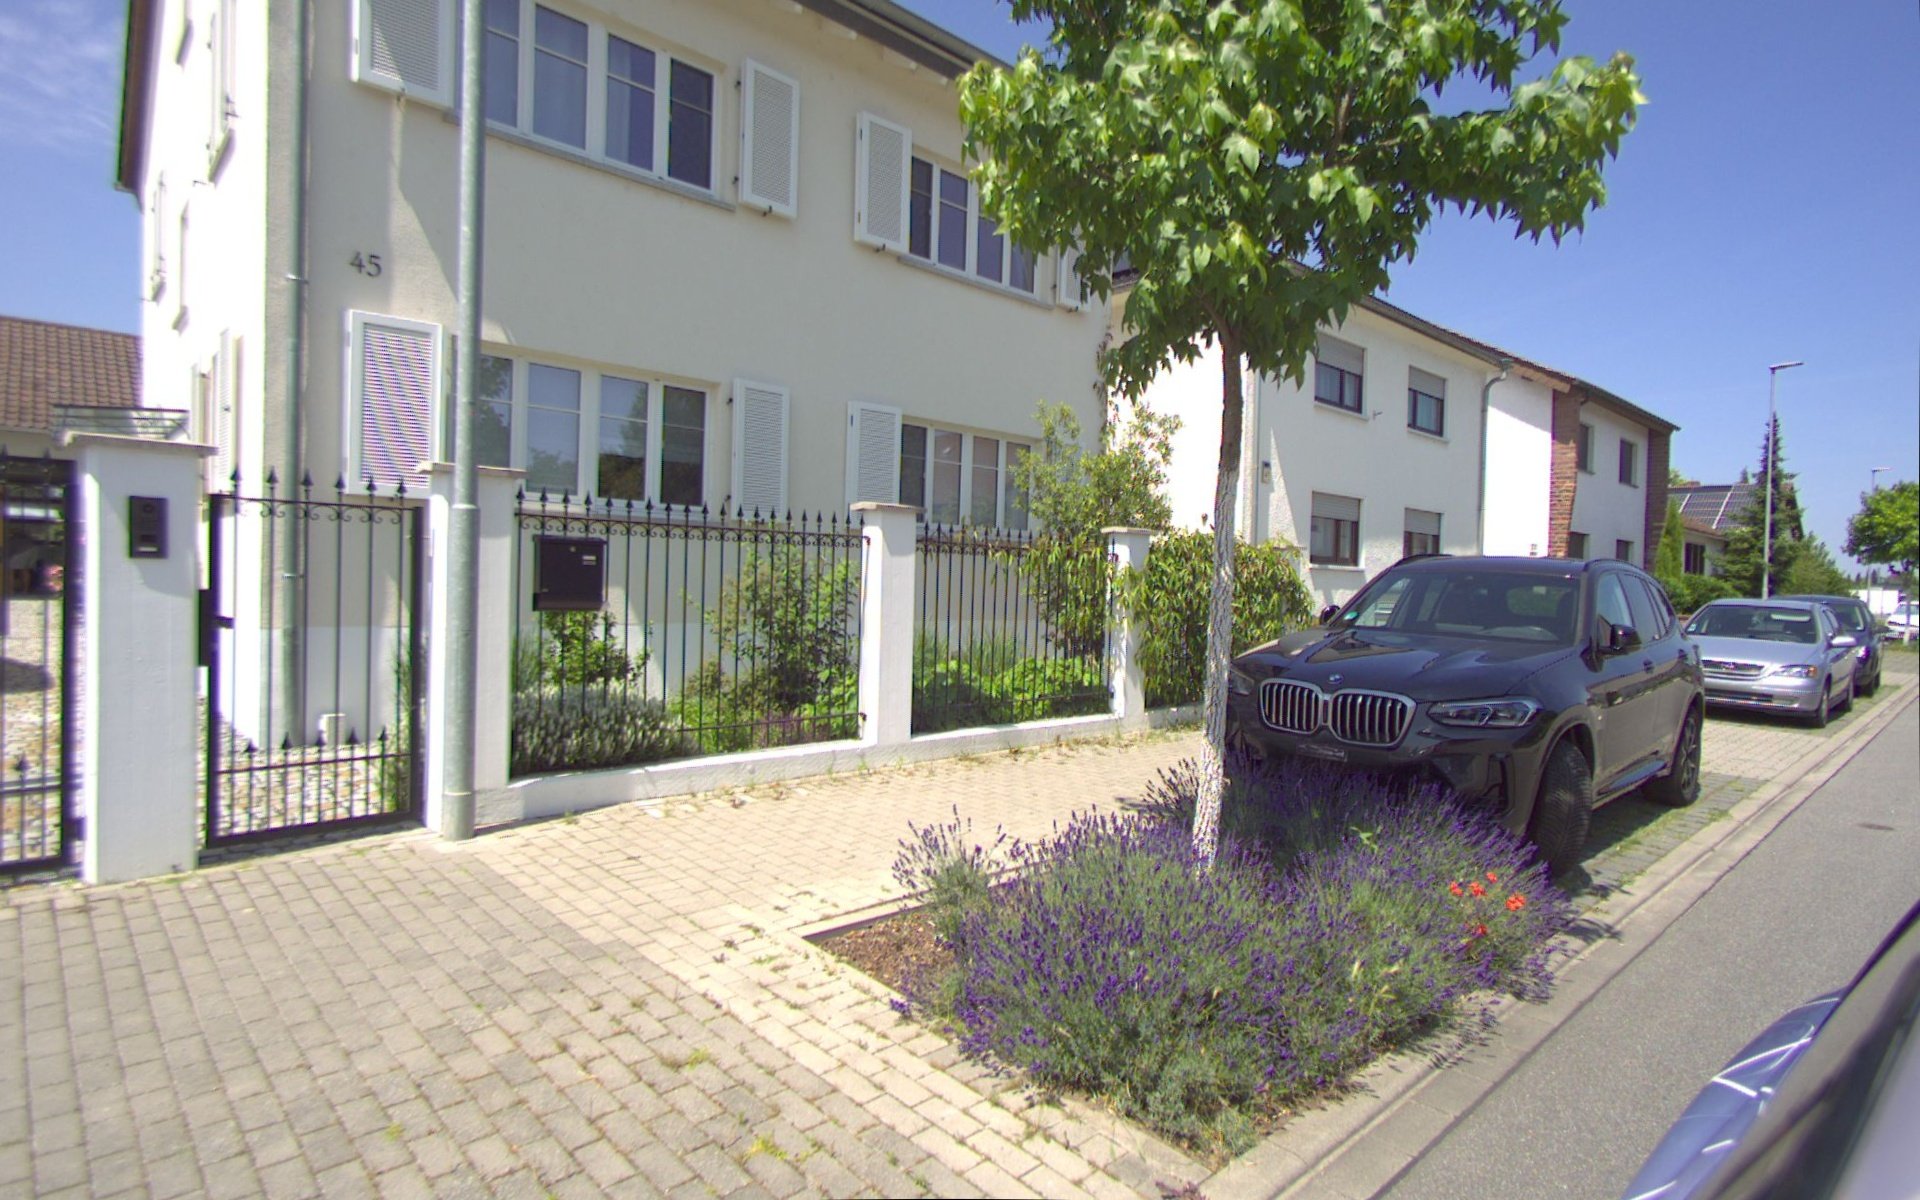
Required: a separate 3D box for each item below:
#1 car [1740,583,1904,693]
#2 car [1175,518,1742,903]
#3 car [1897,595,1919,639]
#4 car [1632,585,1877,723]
[{"bbox_3d":[14.269,0.530,16.662,1.742,1.552,4.377,2,2,44],"label":"car"},{"bbox_3d":[3.499,0.476,6.614,4.486,1.677,1.817,1,1,-43],"label":"car"},{"bbox_3d":[33.806,0.593,35.015,3.803,1.438,1.816,0,2,-44],"label":"car"},{"bbox_3d":[10.178,0.578,12.861,4.023,1.438,1.817,0,1,-43],"label":"car"}]
